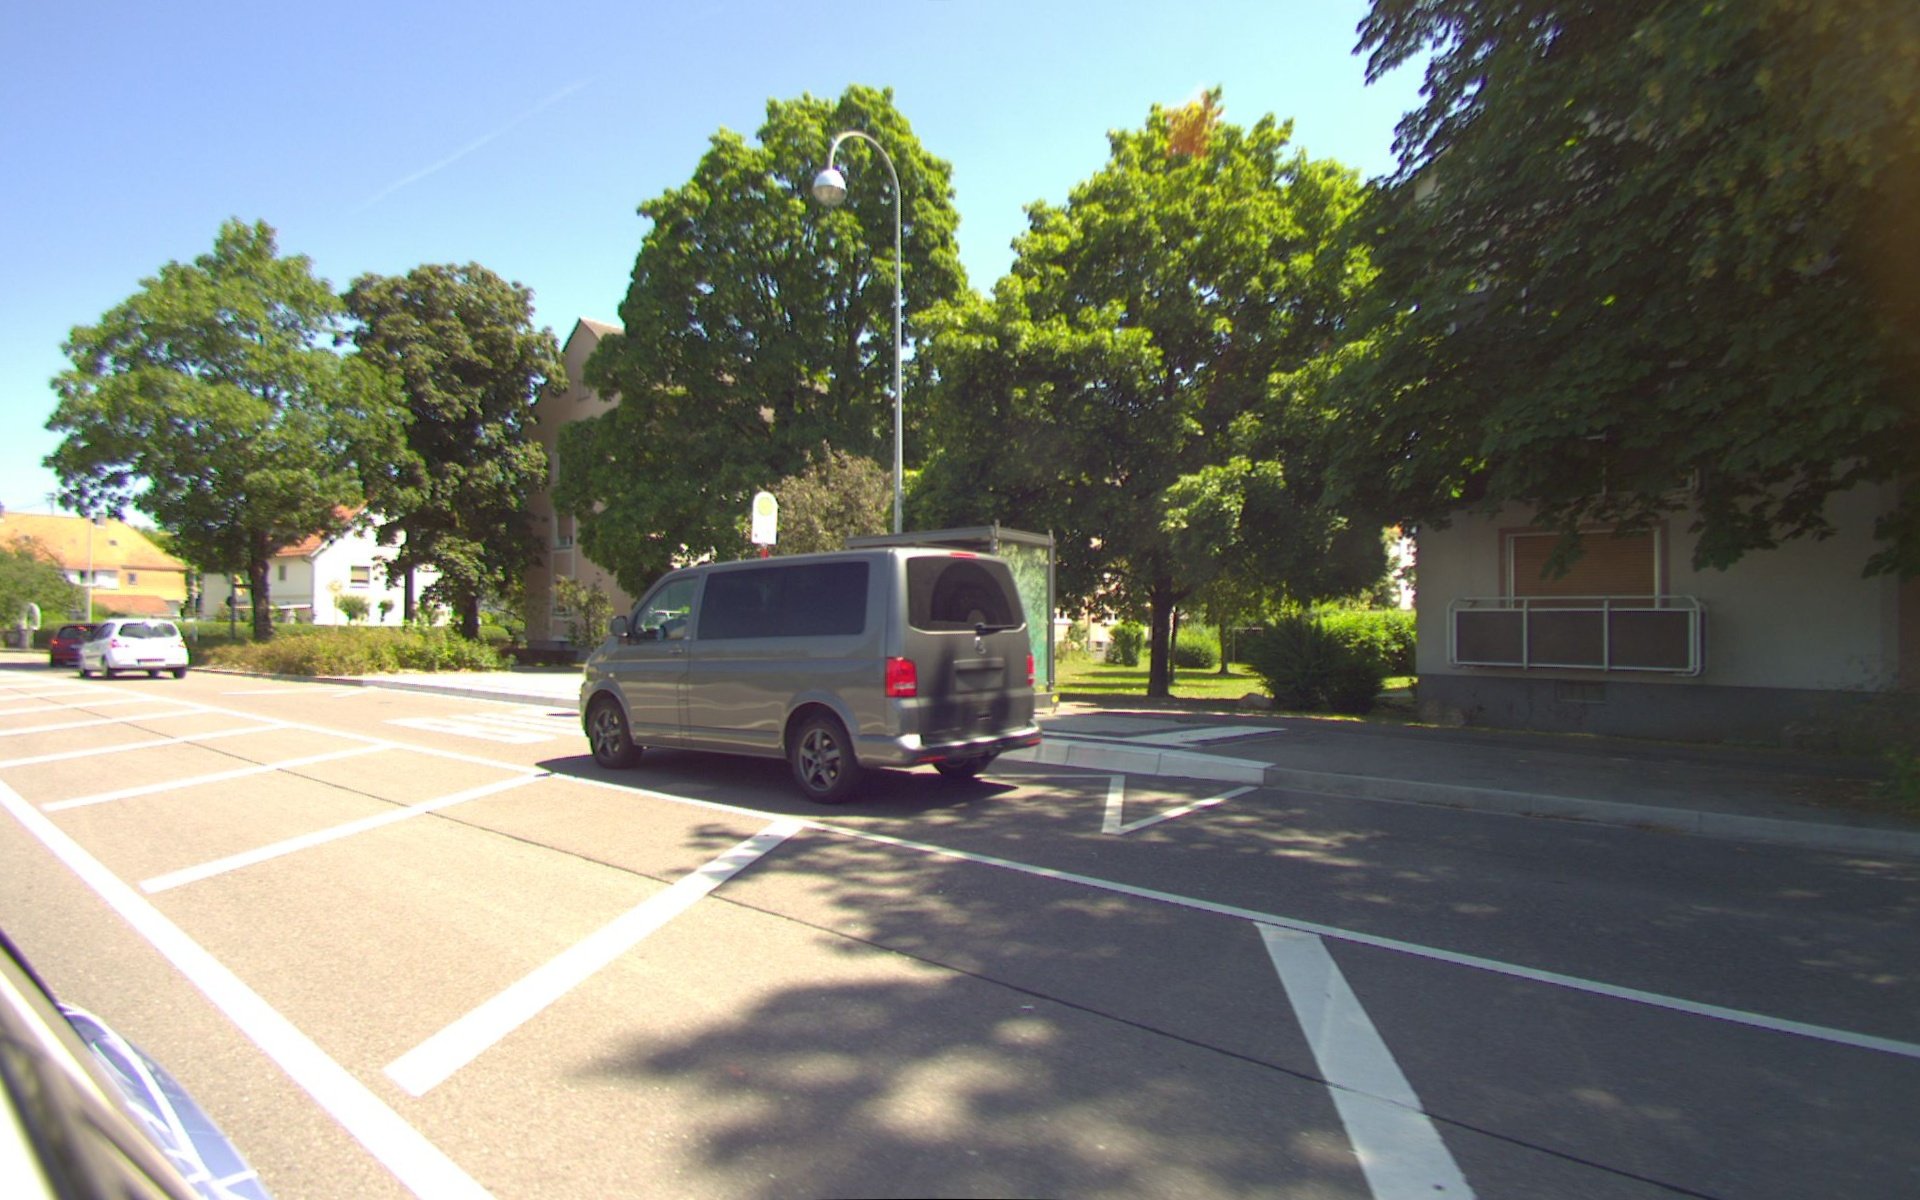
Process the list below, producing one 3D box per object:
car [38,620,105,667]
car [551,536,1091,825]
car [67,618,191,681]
[{"bbox_3d":[-29.141,1.426,33.226,1.531,1.461,3.695,3,-3,-41],"label":"car"},{"bbox_3d":[-1.478,0.601,9.110,4.986,1.924,1.974,-2,-2,39],"label":"car"},{"bbox_3d":[-21.034,1.217,25.579,3.634,1.471,1.675,-2,-2,38],"label":"car"}]
